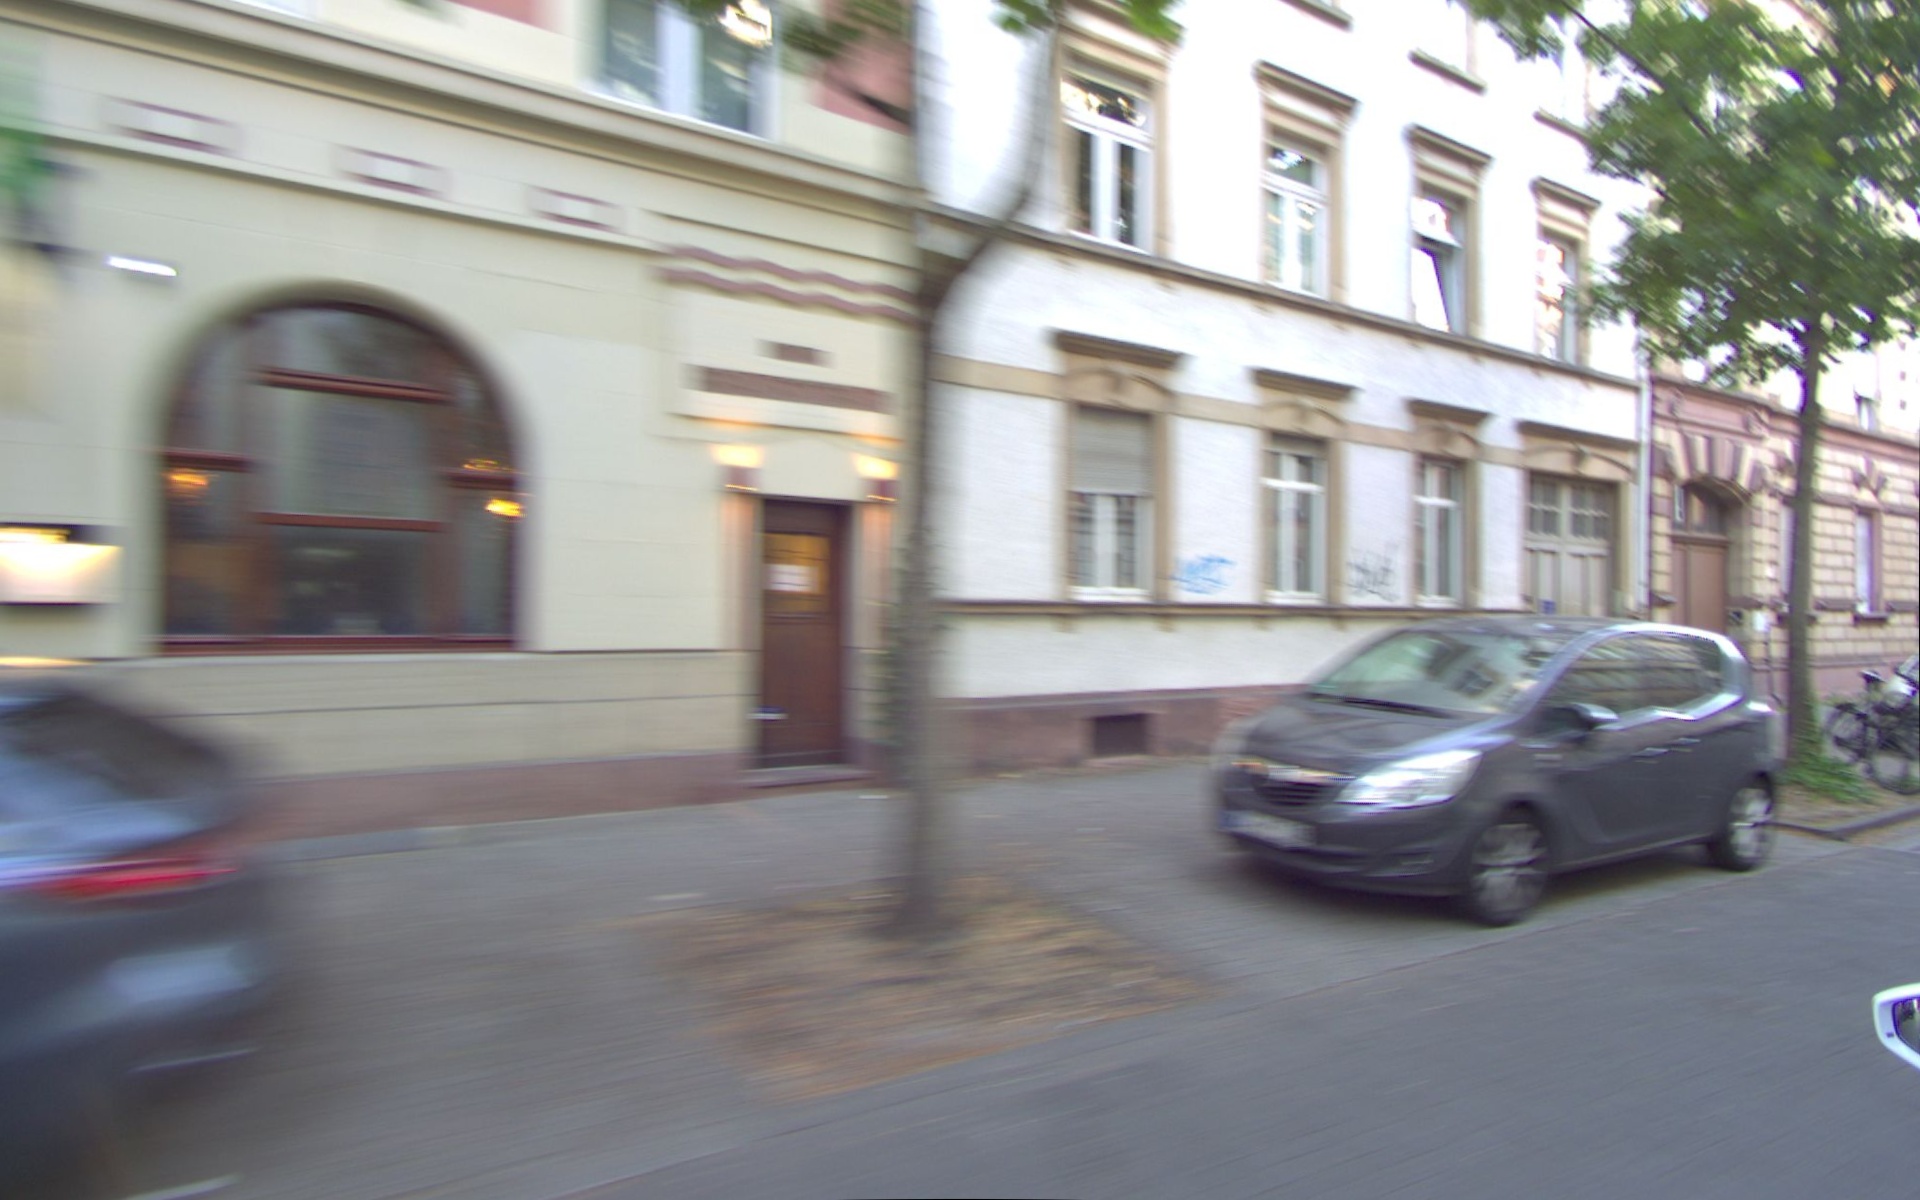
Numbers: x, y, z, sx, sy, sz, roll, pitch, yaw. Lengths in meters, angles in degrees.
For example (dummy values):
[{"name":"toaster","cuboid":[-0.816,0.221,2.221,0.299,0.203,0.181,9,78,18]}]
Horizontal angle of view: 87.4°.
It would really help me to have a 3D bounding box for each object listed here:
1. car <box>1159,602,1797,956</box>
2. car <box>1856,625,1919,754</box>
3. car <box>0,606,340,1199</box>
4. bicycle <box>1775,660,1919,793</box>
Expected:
[{"name":"car","cuboid":[3.360,0.834,6.347,4.030,1.602,1.698,0,0,-30]},{"name":"car","cuboid":[12.595,1.065,12.215,3.525,1.456,1.579,1,0,-31]},{"name":"car","cuboid":[-4.050,0.774,2.094,4.631,1.538,1.796,1,0,-31]},{"name":"bicycle","cuboid":[8.822,1.180,9.737,0.655,1.099,1.829,1,-1,12]}]
